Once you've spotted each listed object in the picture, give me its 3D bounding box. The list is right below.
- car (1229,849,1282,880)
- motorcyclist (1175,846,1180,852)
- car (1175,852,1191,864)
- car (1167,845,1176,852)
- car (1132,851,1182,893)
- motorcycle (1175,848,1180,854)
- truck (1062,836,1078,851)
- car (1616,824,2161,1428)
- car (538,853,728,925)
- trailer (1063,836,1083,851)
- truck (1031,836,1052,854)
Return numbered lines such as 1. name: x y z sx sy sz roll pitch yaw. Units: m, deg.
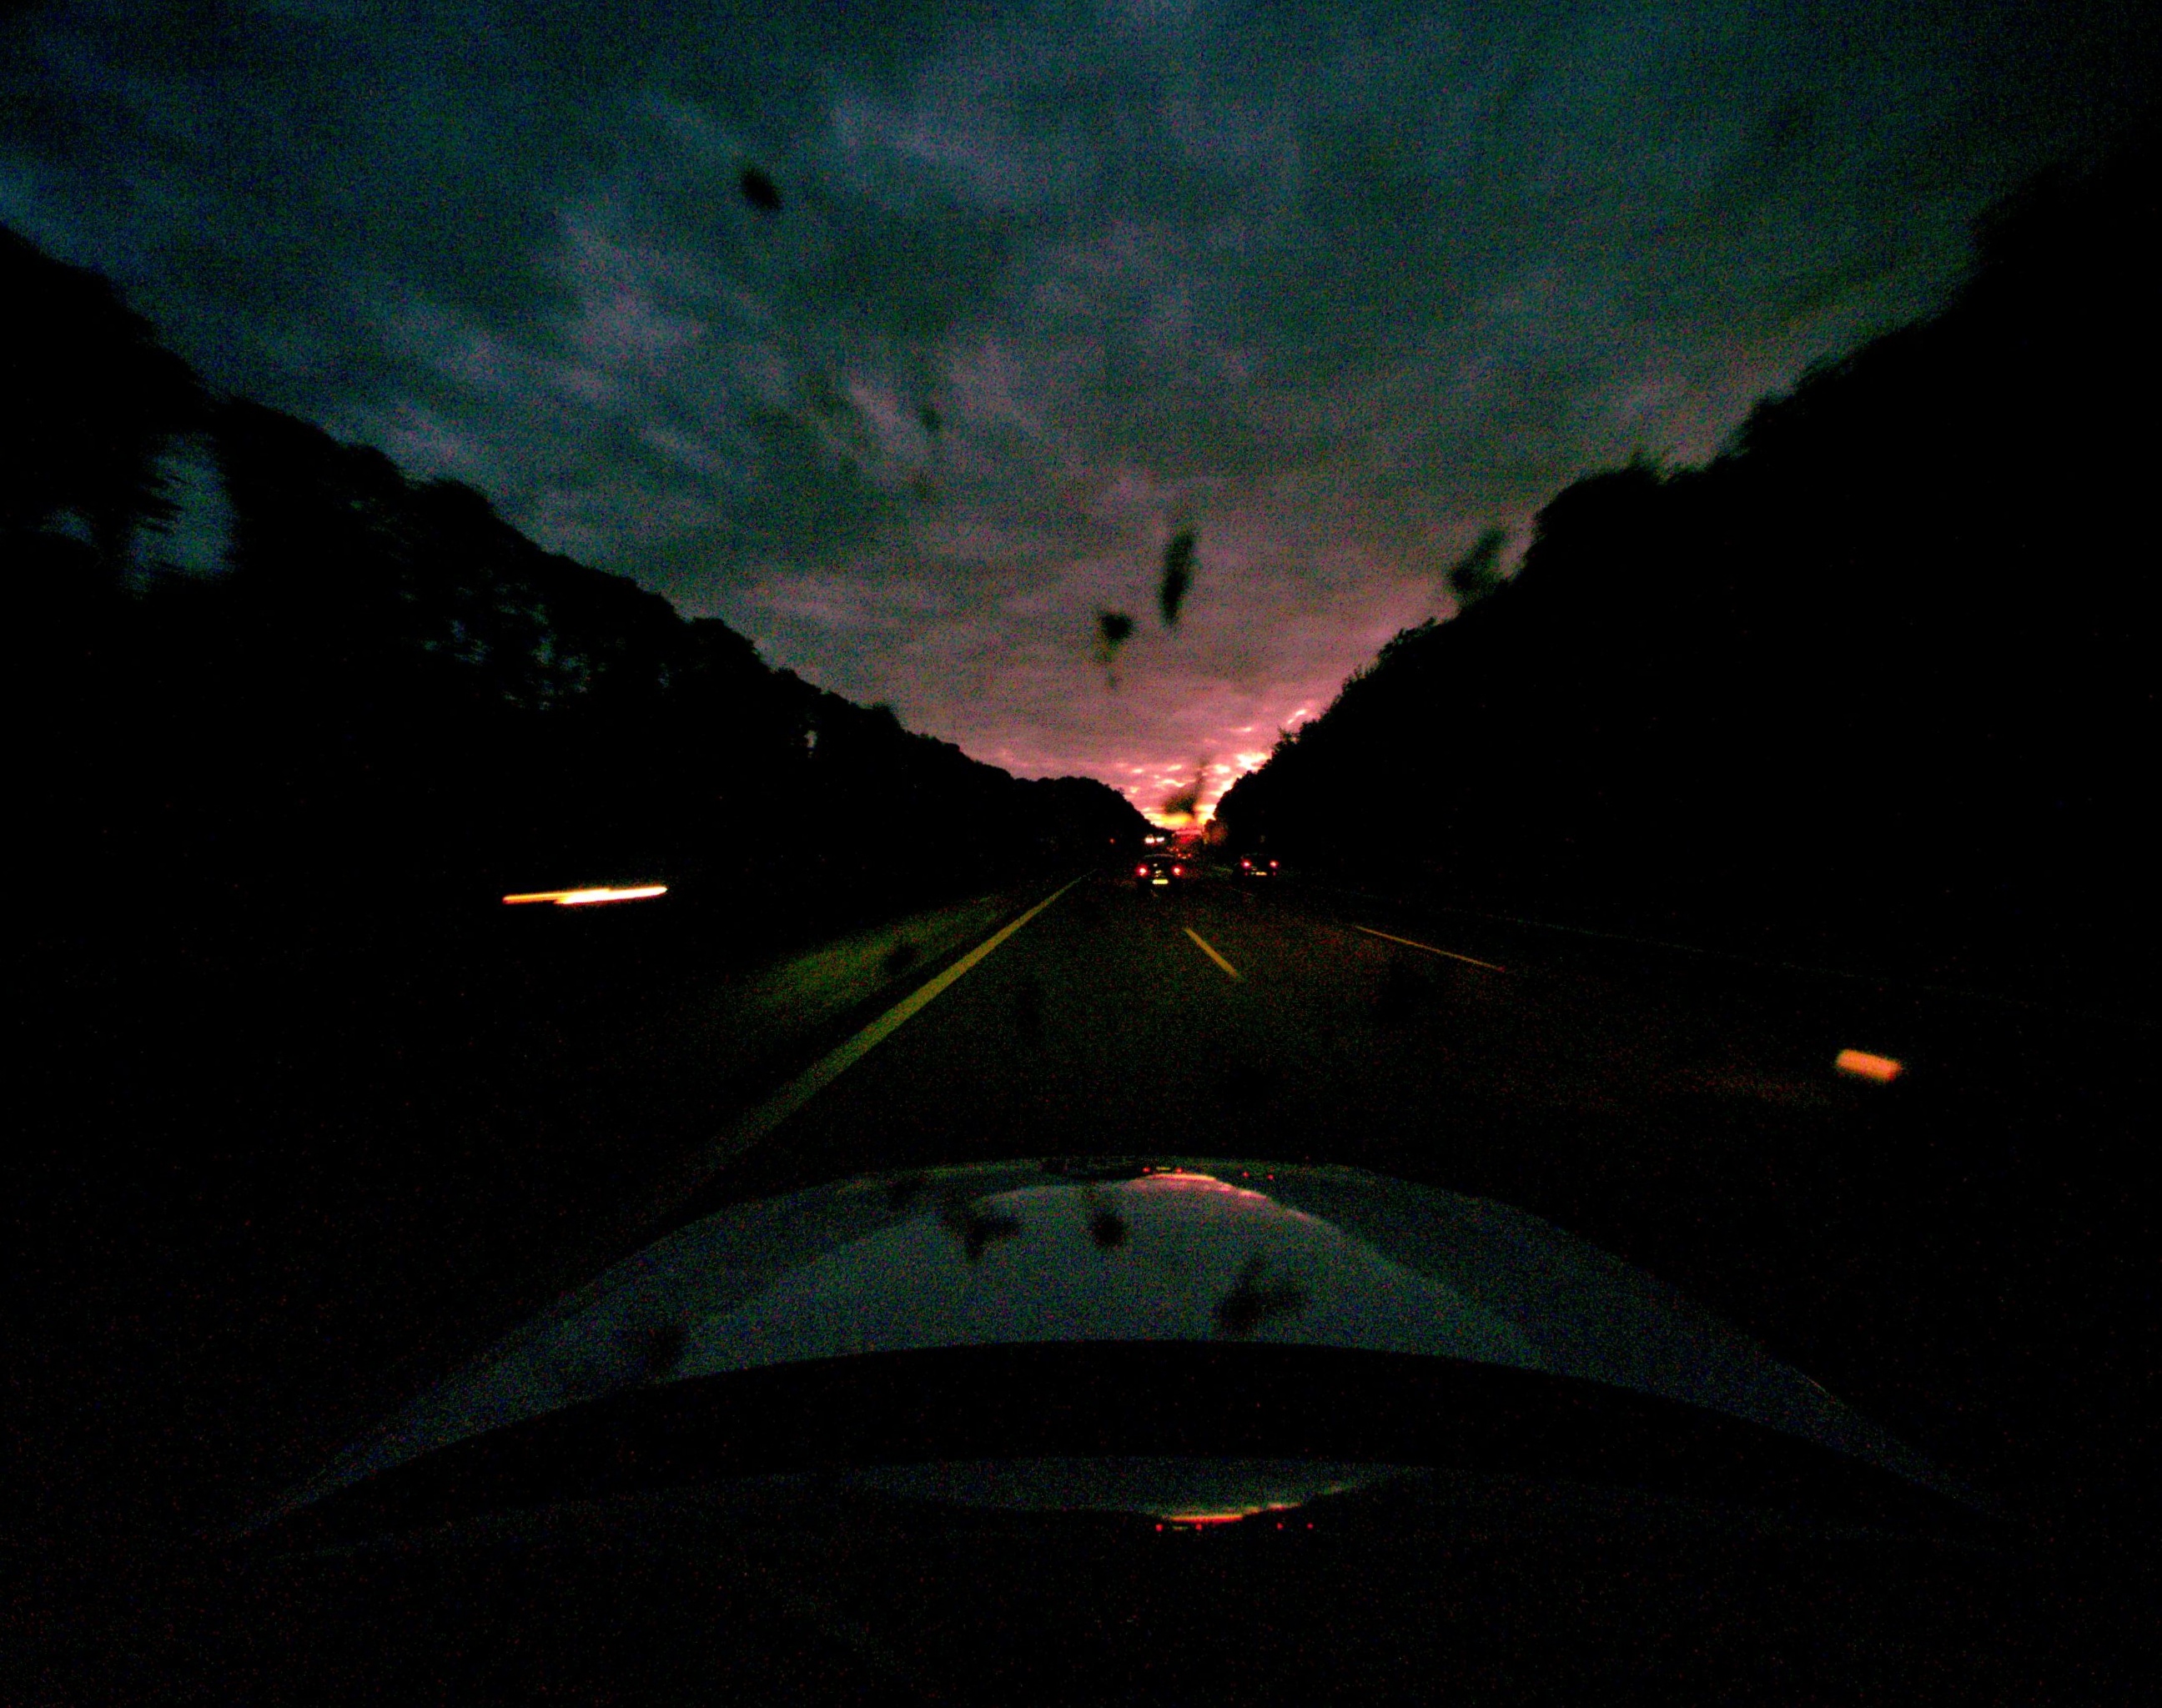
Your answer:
1. car: 8.874 0.491 41.846 1.858 1.435 4.585 -1 1 1
2. motorcyclist: 19.714 -1.044 166.395 0.825 1.291 1.193 -2 0 8
3. car: 13.005 0.491 103.855 1.817 1.475 4.403 -1 0 4
4. car: 20.573 -1.250 185.409 1.857 1.494 4.403 -1 0 4
5. car: 2.883 0.638 31.449 1.697 1.509 4.235 -1 0 2
6. motorcycle: 19.744 -0.573 166.464 0.825 1.134 2.482 -2 0 8
7. truck: -3.048 -2.971 228.433 3.172 4.104 7.710 -1 1 9
8. car: 3.505 0.662 1.576 1.686 1.490 4.948 -1 0 0
9. car: -10.239 0.717 19.062 1.812 1.479 4.374 -1 0 3
10. trailer: -2.154 -2.993 233.978 3.172 4.104 14.221 -1 1 9
11. truck: -9.105 -2.045 187.864 3.172 4.104 7.710 -1 1 9
